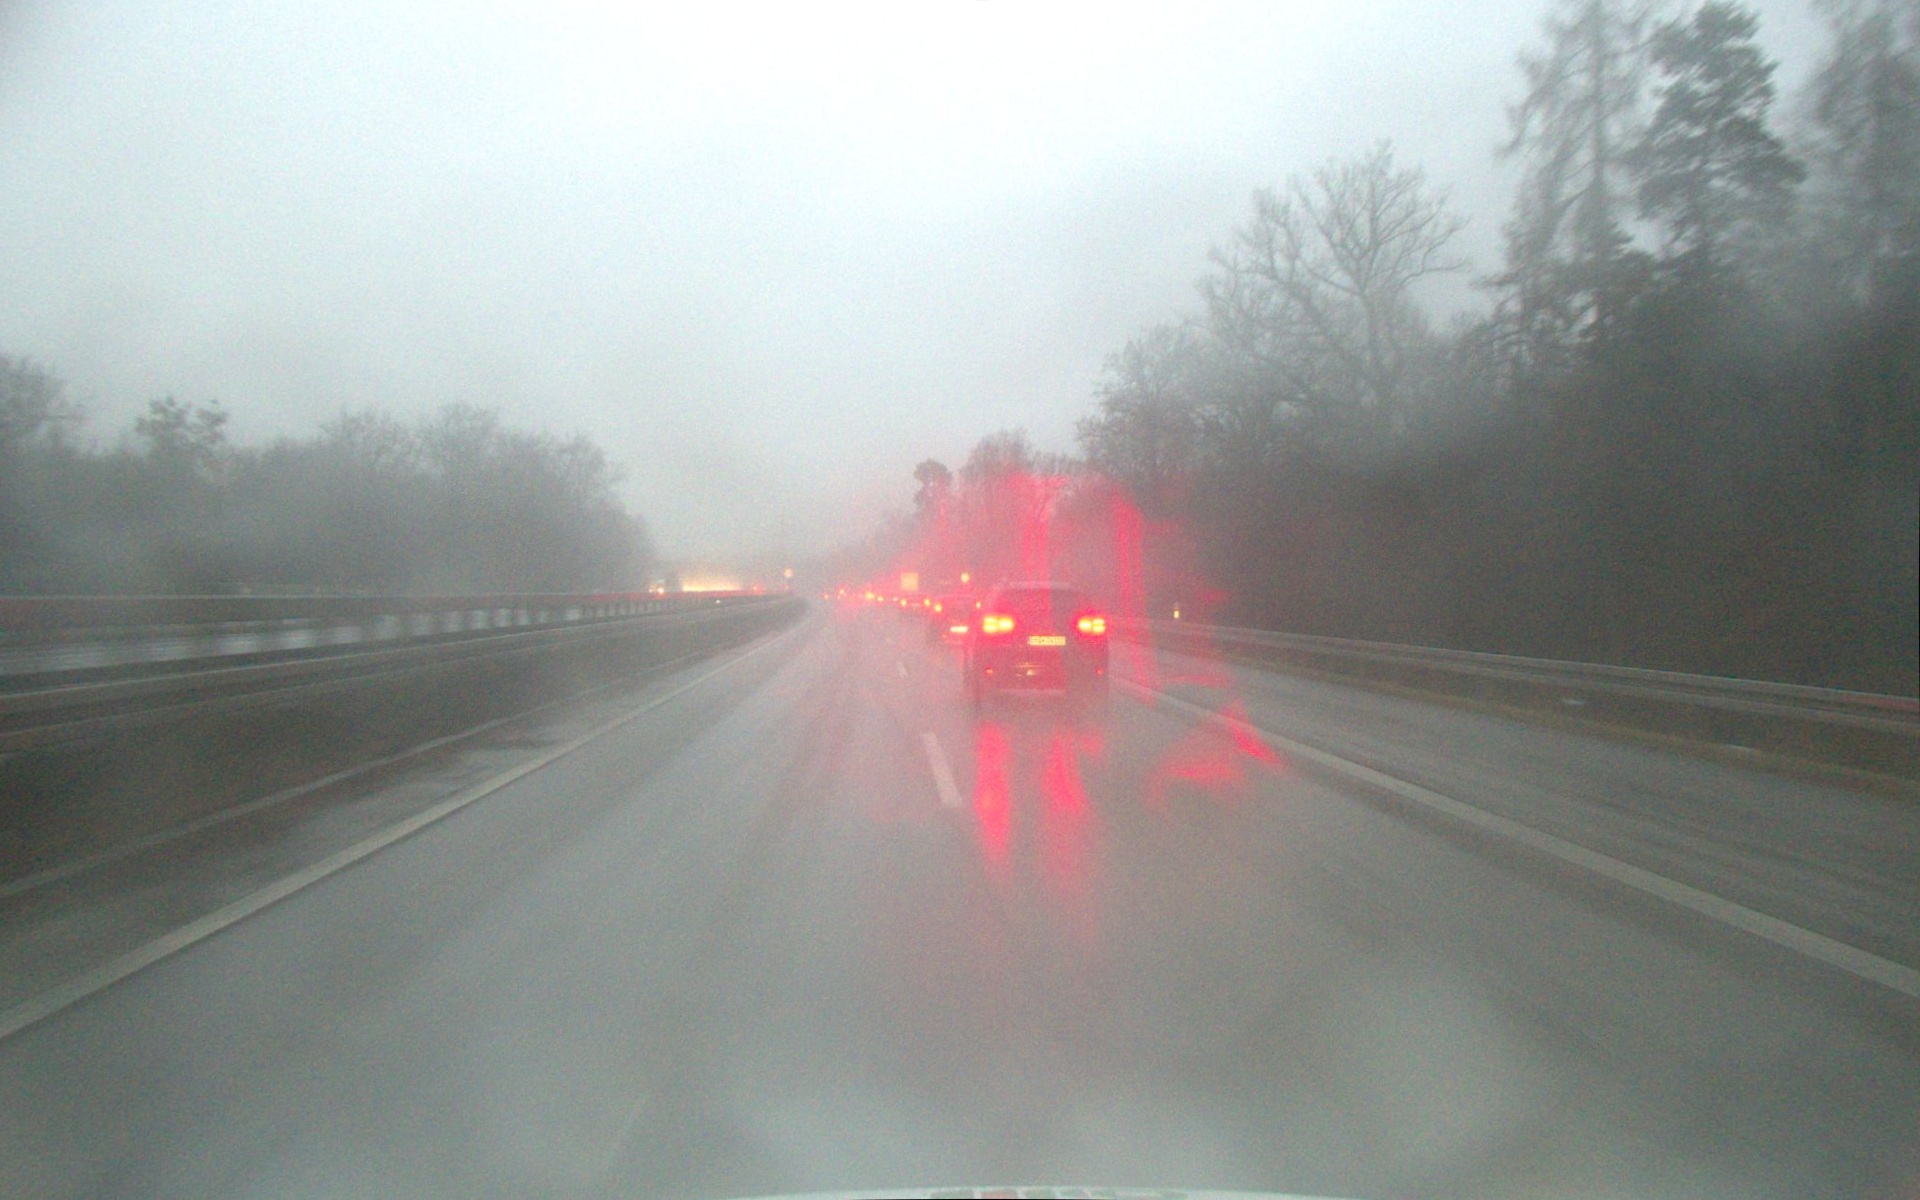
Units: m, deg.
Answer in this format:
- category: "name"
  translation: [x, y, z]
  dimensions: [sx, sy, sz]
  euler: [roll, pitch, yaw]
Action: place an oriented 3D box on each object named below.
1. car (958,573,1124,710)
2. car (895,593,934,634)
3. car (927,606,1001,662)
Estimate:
- category: "car"
  translation: [1.048, 0.537, 23.246]
  dimensions: [1.952, 1.745, 3.828]
  euler: [1, 0, -3]
- category: "car"
  translation: [-2.368, 0.692, 85.393]
  dimensions: [1.953, 2.049, 3.998]
  euler: [1, 0, -2]
- category: "car"
  translation: [0.066, 0.944, 47.184]
  dimensions: [1.953, 1.445, 3.999]
  euler: [3, 0, -1]
